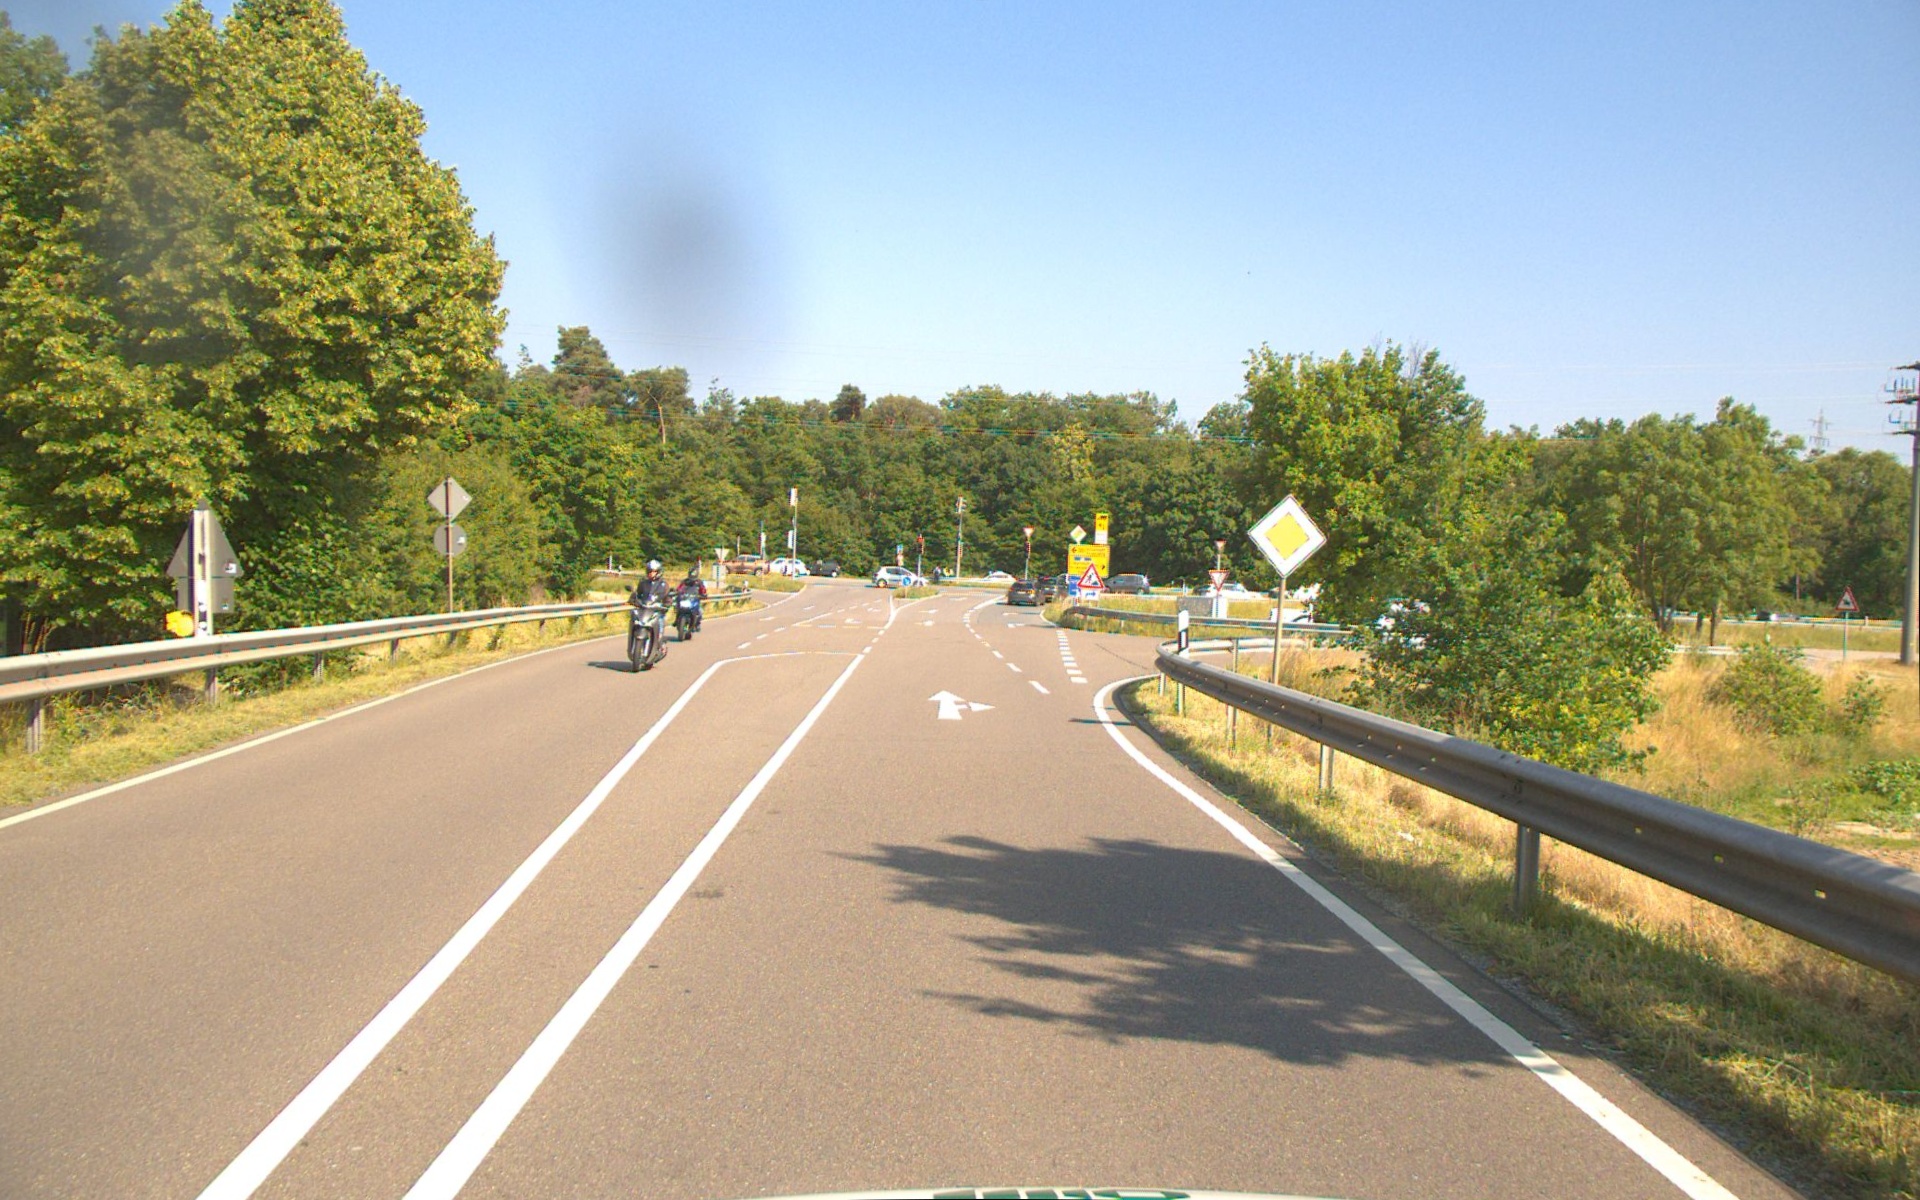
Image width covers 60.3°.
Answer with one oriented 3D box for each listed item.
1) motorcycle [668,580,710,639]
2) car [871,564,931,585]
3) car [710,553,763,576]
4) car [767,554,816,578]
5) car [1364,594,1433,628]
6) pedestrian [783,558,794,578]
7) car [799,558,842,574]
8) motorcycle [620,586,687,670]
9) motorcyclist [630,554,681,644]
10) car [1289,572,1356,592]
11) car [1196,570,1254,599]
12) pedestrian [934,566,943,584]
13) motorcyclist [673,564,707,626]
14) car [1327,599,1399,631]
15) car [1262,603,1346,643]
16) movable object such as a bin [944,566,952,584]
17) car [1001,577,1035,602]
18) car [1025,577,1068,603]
[{"bbox_3d":[-6.343,0.197,38.788,0.703,1.331,2.180,0,1,-3],"label":"motorcycle"},{"bbox_3d":[-4.229,-1.798,118.371,4.148,1.485,1.997,0,1,-8],"label":"car"},{"bbox_3d":[-17.134,-2.711,126.816,3.917,1.780,1.758,0,1,-12],"label":"car"},{"bbox_3d":[-14.577,-2.898,143.020,3.931,2.049,1.784,0,1,-22],"label":"car"},{"bbox_3d":[28.922,0.745,109.091,3.926,1.909,1.882,5,2,39],"label":"car"},{"bbox_3d":[-14.663,-2.737,141.445,0.663,1.751,0.759,2,1,19],"label":"pedestrian"},{"bbox_3d":[-12.657,-3.047,149.931,3.911,1.447,1.793,0,1,-7],"label":"car"},{"bbox_3d":[-4.884,0.426,26.452,0.702,1.272,2.078,0,1,-1],"label":"motorcycle"},{"bbox_3d":[-4.880,-0.024,26.565,0.684,1.432,0.784,0,1,-1],"label":"motorcyclist"},{"bbox_3d":[28.557,-1.439,130.409,4.788,1.579,1.997,0,1,-7],"label":"car"},{"bbox_3d":[19.552,-1.151,122.094,3.909,2.048,1.799,2,2,-5],"label":"car"},{"bbox_3d":[-1.792,-2.043,135.825,0.514,1.415,0.512,1,1,37],"label":"pedestrian"},{"bbox_3d":[-6.335,-0.131,38.812,0.685,1.432,0.978,0,1,-3],"label":"motorcyclist"},{"bbox_3d":[25.356,0.941,103.996,3.919,1.647,1.885,5,2,34],"label":"car"},{"bbox_3d":[18.257,1.226,87.836,4.262,1.814,1.903,3,1,12],"label":"car"},{"bbox_3d":[-0.998,-2.041,136.341,0.589,1.514,0.733,0,1,7],"label":"movable object such as a bin"},{"bbox_3d":[3.472,-0.654,97.808,1.761,1.422,4.003,-1,1,5],"label":"car"},{"bbox_3d":[5.507,-0.618,105.069,1.761,1.527,4.003,3,1,16],"label":"car"}]
